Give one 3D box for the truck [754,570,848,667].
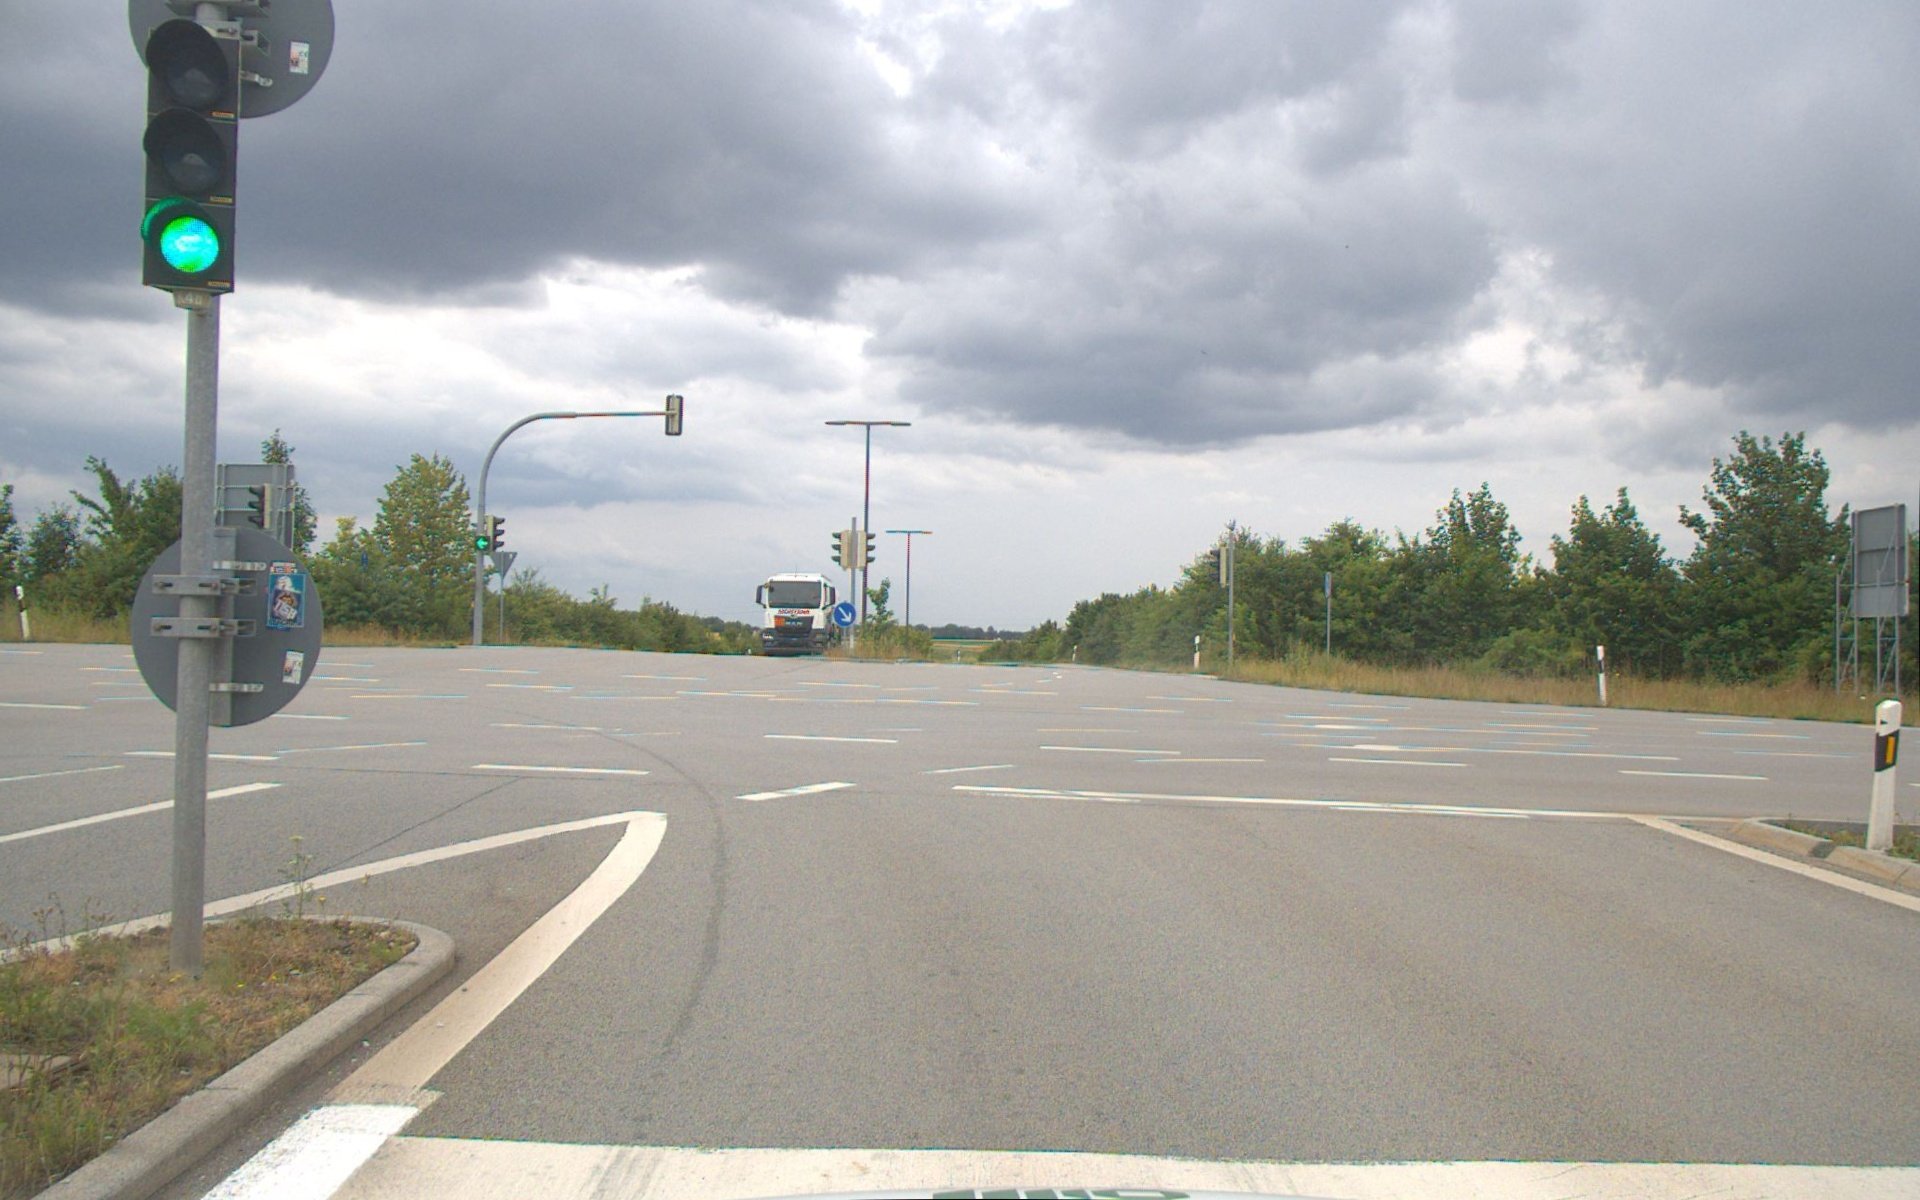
[{"bbox_3d":[-6.039,0.796,64.127,2.811,3.468,8.648,1,-2,0],"label":"truck"}]
